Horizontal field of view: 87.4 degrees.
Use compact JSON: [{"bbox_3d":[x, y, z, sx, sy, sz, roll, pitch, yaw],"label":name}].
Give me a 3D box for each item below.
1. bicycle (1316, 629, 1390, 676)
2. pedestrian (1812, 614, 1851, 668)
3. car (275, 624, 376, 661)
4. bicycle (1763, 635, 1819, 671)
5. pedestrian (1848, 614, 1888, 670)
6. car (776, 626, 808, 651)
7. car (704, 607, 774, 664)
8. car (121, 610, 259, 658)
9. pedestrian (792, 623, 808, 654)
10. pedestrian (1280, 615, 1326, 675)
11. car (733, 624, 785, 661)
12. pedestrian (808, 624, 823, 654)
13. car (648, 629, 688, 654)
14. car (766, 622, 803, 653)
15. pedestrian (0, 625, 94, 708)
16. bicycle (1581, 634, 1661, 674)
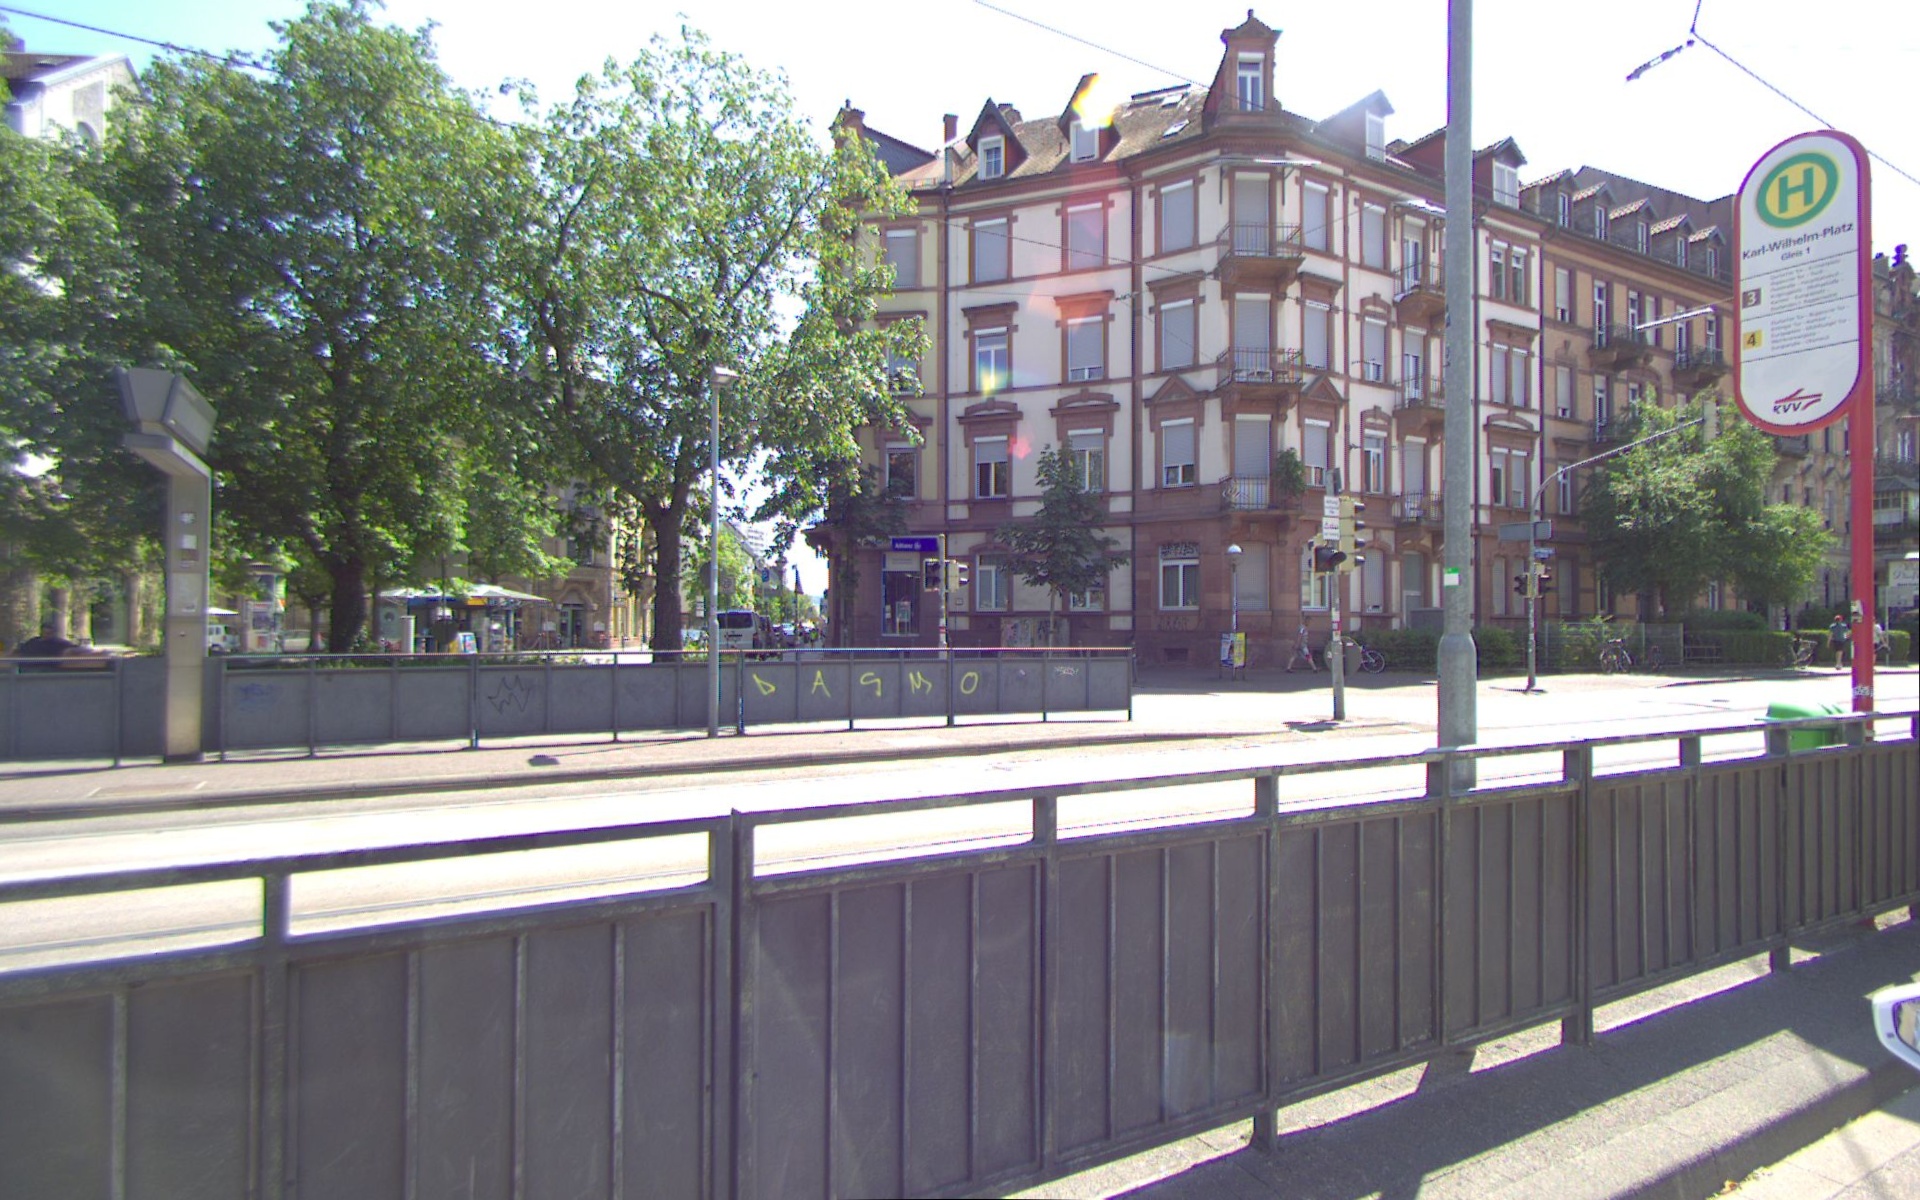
[{"bbox_3d":[11.669,1.558,29.864,1.923,1.312,0.564,2,0,11],"label":"bicycle"},{"bbox_3d":[30.524,1.416,35.177,0.864,1.847,0.811,0,1,-33],"label":"pedestrian"},{"bbox_3d":[-32.071,2.164,50.893,3.920,1.730,1.761,2,0,-14],"label":"car"},{"bbox_3d":[28.533,1.802,34.481,2.750,1.151,0.930,2,0,-39],"label":"bicycle"},{"bbox_3d":[31.190,1.423,34.506,0.864,1.847,0.811,0,1,-33],"label":"pedestrian"},{"bbox_3d":[-12.478,2.848,74.760,1.962,1.617,3.998,2,0,-4],"label":"car"},{"bbox_3d":[-8.324,1.301,38.219,1.962,1.970,3.998,2,0,-4],"label":"car"},{"bbox_3d":[-31.185,1.371,40.818,3.932,1.814,1.994,2,0,-14],"label":"car"},{"bbox_3d":[-8.585,2.071,53.877,0.790,1.632,0.731,0,-1,-4],"label":"pedestrian"},{"bbox_3d":[9.892,1.283,28.984,1.041,1.712,0.722,0,-1,-2],"label":"pedestrian"},{"bbox_3d":[-9.621,2.013,48.291,1.893,1.541,3.998,2,0,-4],"label":"car"},{"bbox_3d":[-7.839,2.113,54.547,0.742,1.632,0.688,0,-1,-4],"label":"pedestrian"},{"bbox_3d":[-20.654,2.922,71.166,1.846,1.617,3.998,2,0,-4],"label":"car"},{"bbox_3d":[-10.368,2.181,59.456,1.684,1.617,3.998,2,0,-4],"label":"car"},{"bbox_3d":[-14.656,1.045,16.107,0.925,1.261,0.860,2,0,-24],"label":"pedestrian"},{"bbox_3d":[20.232,1.645,30.717,2.742,1.151,0.932,2,0,-31],"label":"bicycle"}]
